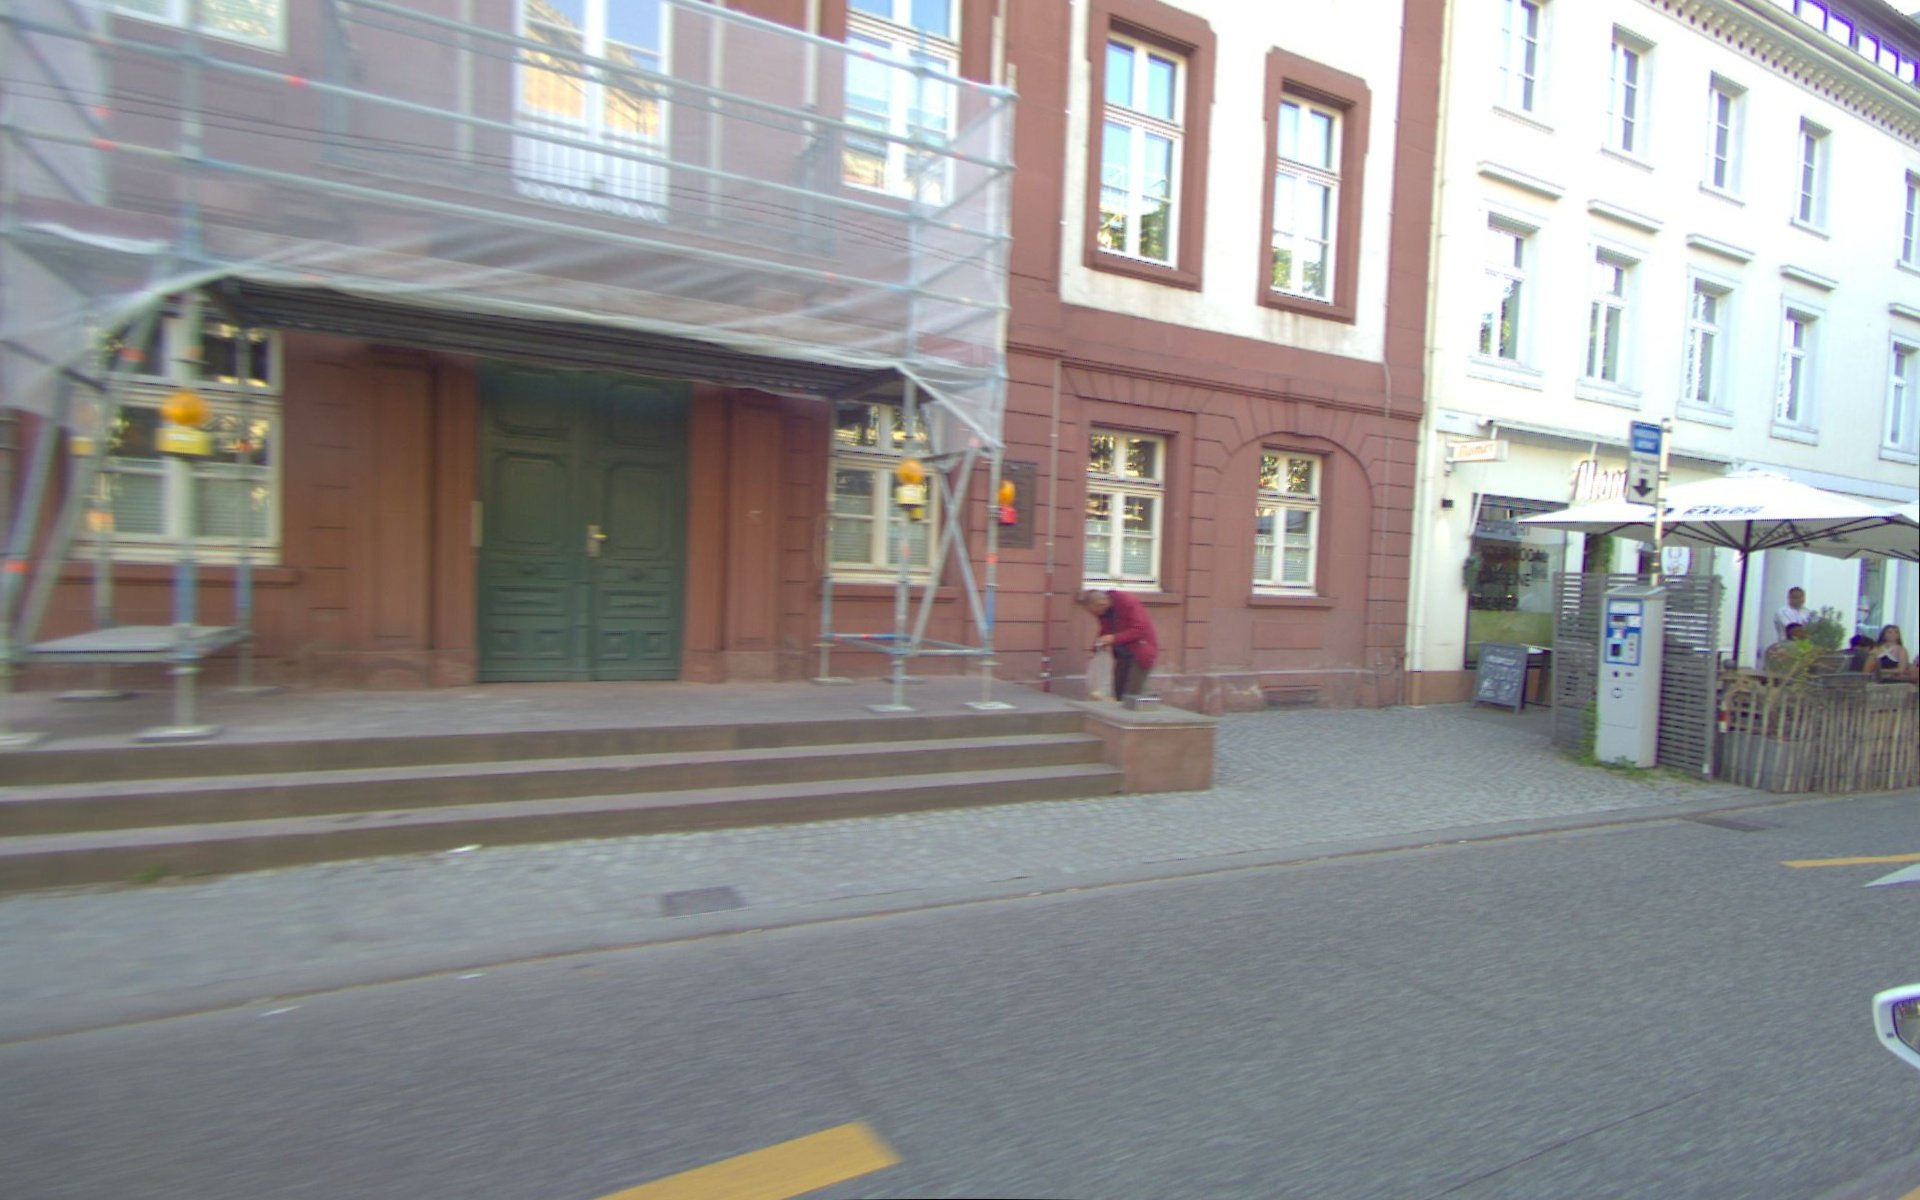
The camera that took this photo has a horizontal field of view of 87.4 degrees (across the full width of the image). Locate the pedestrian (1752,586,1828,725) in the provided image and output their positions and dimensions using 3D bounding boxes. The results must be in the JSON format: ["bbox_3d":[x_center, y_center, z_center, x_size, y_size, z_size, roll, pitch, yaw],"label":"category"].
[{"bbox_3d":[11.053,0.733,13.385,0.587,1.799,0.438,2,2,-14],"label":"pedestrian"}]

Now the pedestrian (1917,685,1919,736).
[{"bbox_3d":[12.398,1.022,12.510,0.482,1.410,0.521,1,2,-29],"label":"pedestrian"}]

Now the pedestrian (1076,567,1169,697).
[{"bbox_3d":[1.411,0.267,8.756,0.545,1.067,0.534,1,3,-31],"label":"pedestrian"}]

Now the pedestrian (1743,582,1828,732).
[{"bbox_3d":[10.223,0.690,12.454,0.432,1.799,0.595,1,2,-18],"label":"pedestrian"}]

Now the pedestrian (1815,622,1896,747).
[{"bbox_3d":[10.571,0.980,11.865,0.482,1.410,0.521,1,2,-29],"label":"pedestrian"}]

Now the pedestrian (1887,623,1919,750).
[{"bbox_3d":[11.360,1.012,11.784,0.495,1.452,0.469,1,2,-22],"label":"pedestrian"}]

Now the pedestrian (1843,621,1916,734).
[{"bbox_3d":[12.016,0.992,13.133,0.482,1.410,0.521,1,2,-29],"label":"pedestrian"}]
